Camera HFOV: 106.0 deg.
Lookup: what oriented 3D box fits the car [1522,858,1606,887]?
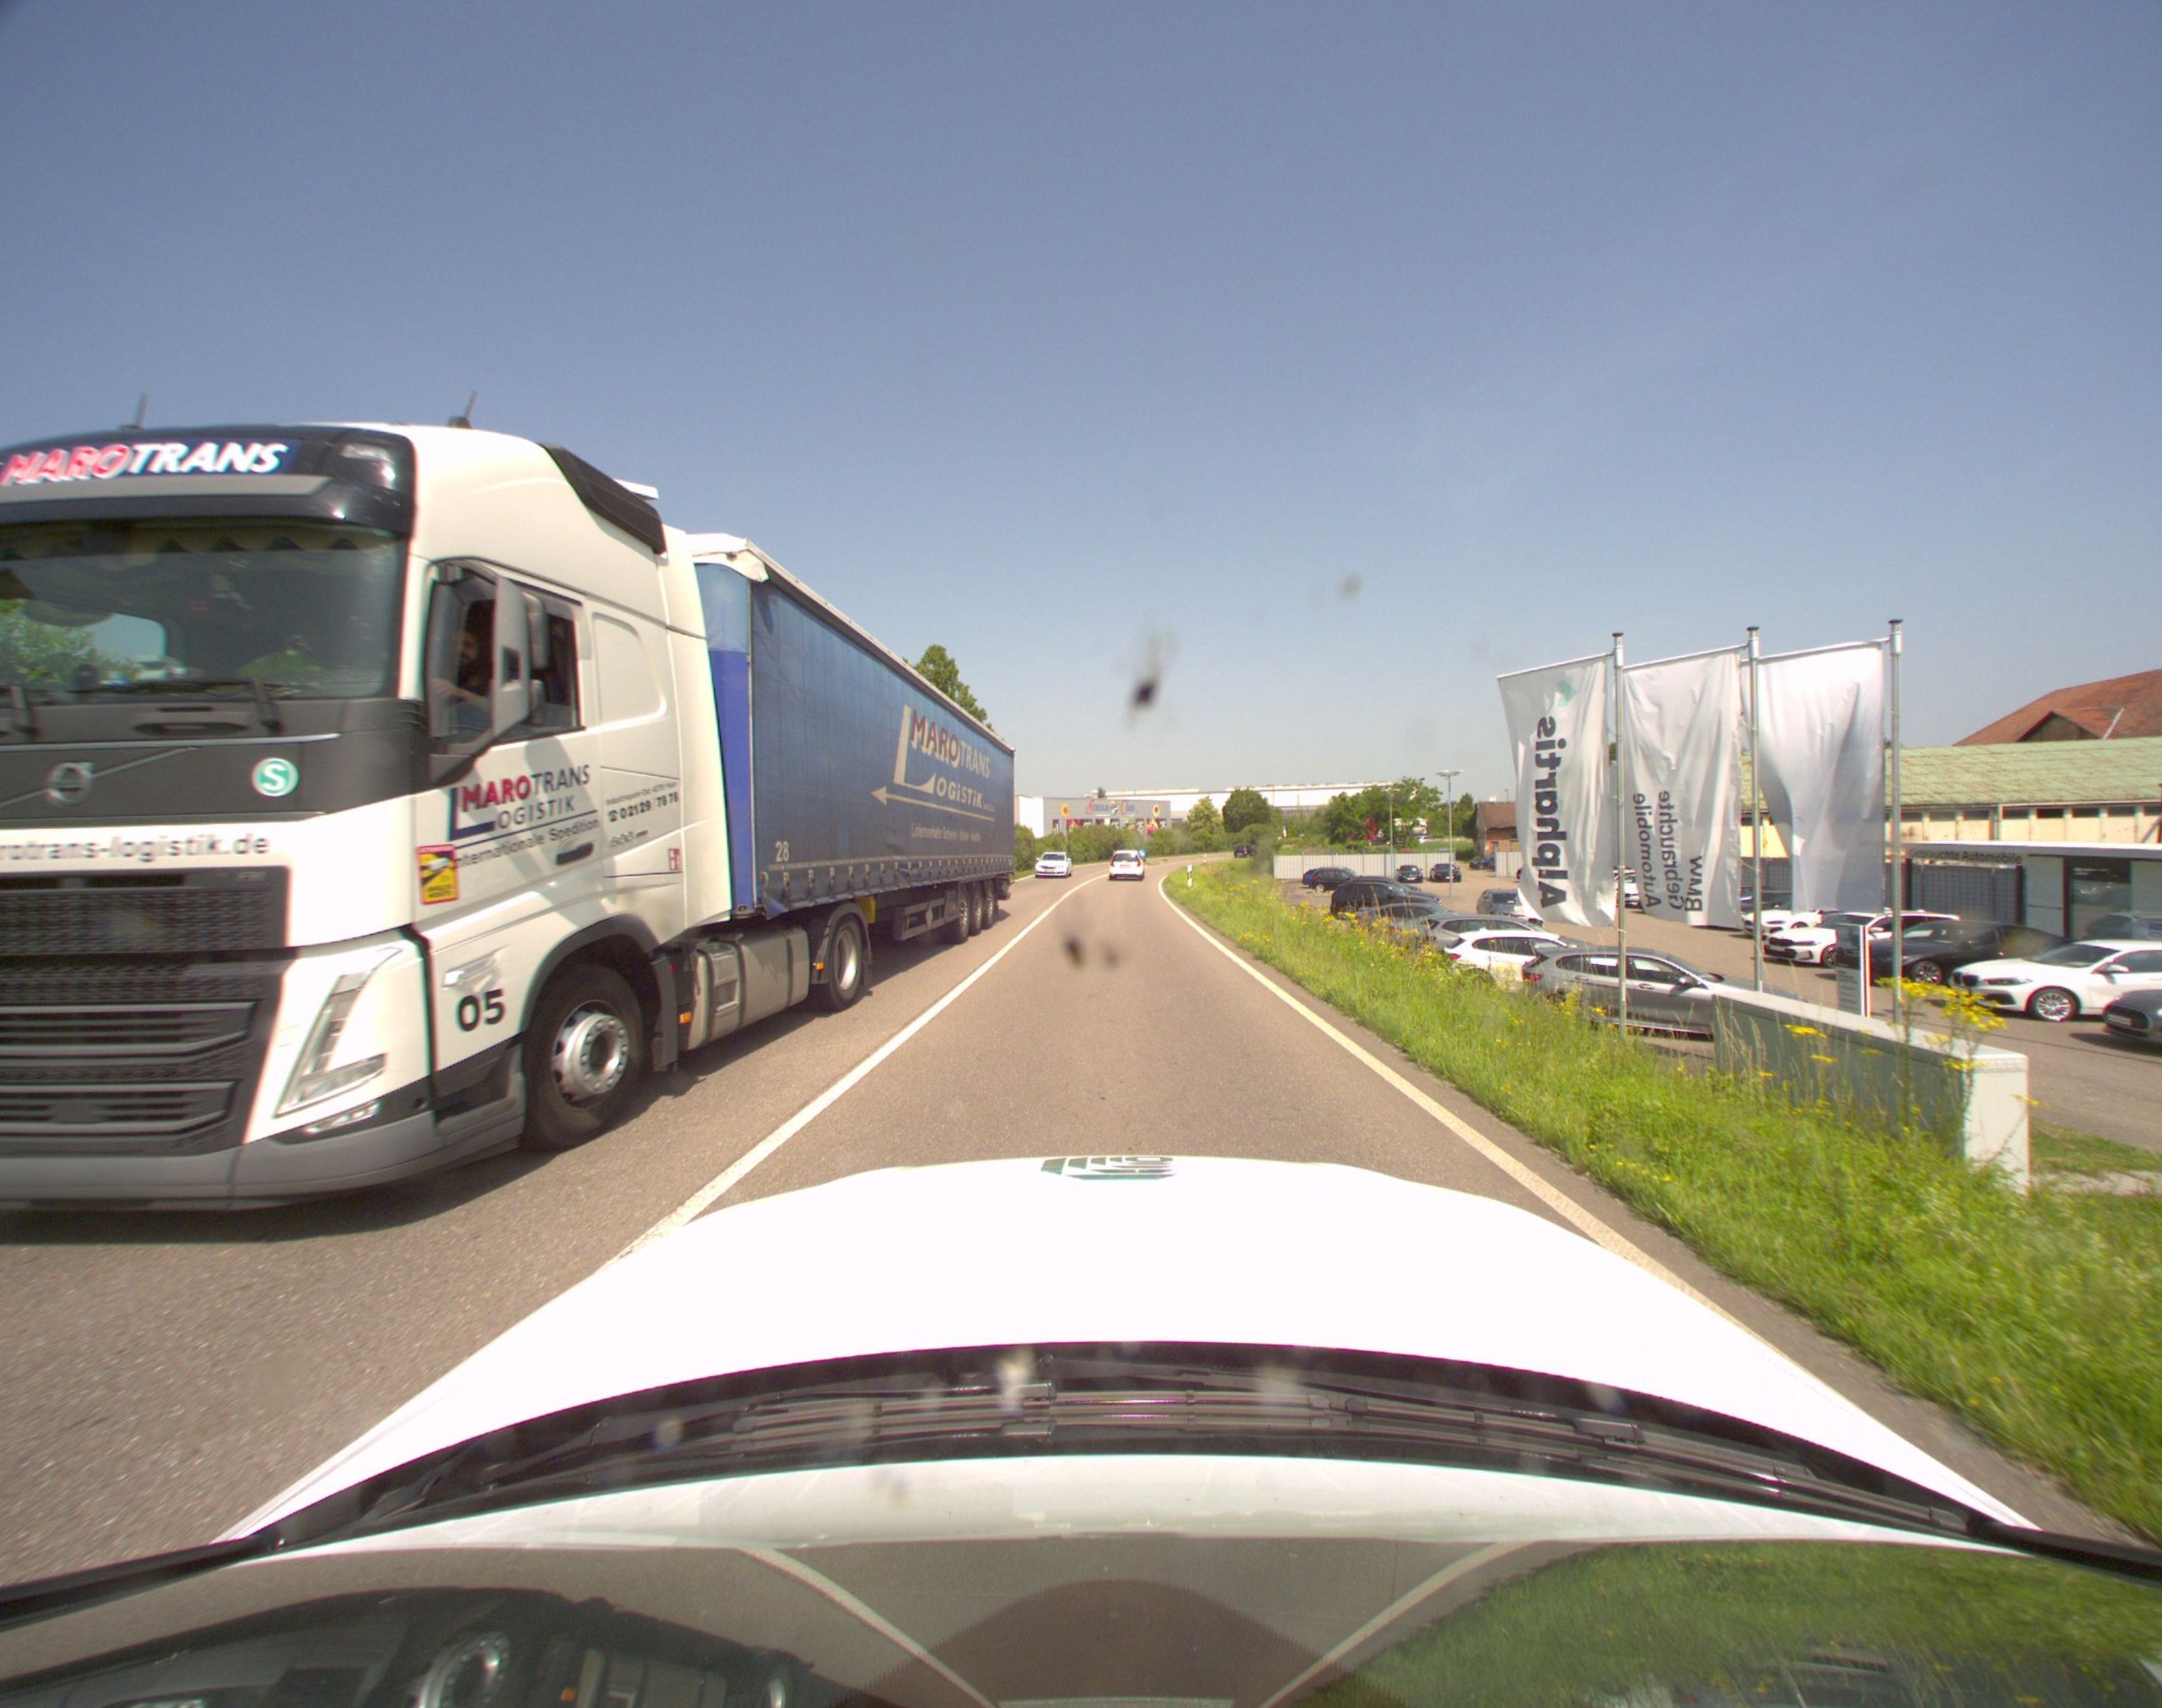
[{"bbox_3d":[30.003,1.144,50.604,4.323,1.575,1.906,-1,2,-10],"label":"car"}]

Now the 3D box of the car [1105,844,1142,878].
[{"bbox_3d":[2.249,0.326,43.730,1.775,1.603,3.895,3,1,1],"label":"car"}]

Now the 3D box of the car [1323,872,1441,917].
[{"bbox_3d":[13.427,1.768,36.430,4.583,1.700,1.869,0,3,35],"label":"car"}]

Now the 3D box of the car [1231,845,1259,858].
[{"bbox_3d":[18.254,-0.288,90.379,1.811,1.470,4.437,0,0,29],"label":"car"}]

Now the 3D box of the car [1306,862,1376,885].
[{"bbox_3d":[18.973,1.385,59.485,4.583,1.498,1.869,0,3,33],"label":"car"}]

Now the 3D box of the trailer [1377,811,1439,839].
[{"bbox_3d":[48.954,-4.291,121.873,8.679,4.030,2.875,0,0,-14],"label":"trailer"}]

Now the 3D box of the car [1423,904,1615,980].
[{"bbox_3d":[11.016,2.151,20.669,4.119,1.523,1.868,0,0,29],"label":"car"}]

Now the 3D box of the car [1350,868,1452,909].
[{"bbox_3d":[15.475,1.626,39.426,4.181,1.700,1.931,0,3,39],"label":"car"}]

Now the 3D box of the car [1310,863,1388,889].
[{"bbox_3d":[17.635,1.433,53.606,4.584,1.604,1.868,0,1,30],"label":"car"}]

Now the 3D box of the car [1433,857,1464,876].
[{"bbox_3d":[28.811,0.946,63.781,1.975,1.398,4.024,0,0,27],"label":"car"}]

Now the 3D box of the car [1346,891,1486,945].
[{"bbox_3d":[11.281,2.093,27.459,4.119,1.523,1.868,0,0,30],"label":"car"}]

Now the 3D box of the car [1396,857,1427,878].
[{"bbox_3d":[26.076,0.999,64.196,1.833,1.534,4.671,0,0,27],"label":"car"}]

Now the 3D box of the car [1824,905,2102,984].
[{"bbox_3d":[20.547,2.081,19.130,4.409,1.523,1.933,-1,0,1],"label":"car"}]

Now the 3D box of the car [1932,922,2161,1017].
[{"bbox_3d":[19.421,2.177,15.600,3.923,1.523,1.761,-1,0,22],"label":"car"}]

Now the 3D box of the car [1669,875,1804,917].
[{"bbox_3d":[26.974,1.691,33.596,4.305,1.523,1.794,-1,0,-5],"label":"car"}]

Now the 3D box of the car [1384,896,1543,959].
[{"bbox_3d":[11.318,2.114,24.149,4.119,1.523,1.868,0,0,30],"label":"car"}]

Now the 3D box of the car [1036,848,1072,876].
[{"bbox_3d":[-1.519,0.423,46.633,1.822,1.470,4.411,0,0,1],"label":"car"}]

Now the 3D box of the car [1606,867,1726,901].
[{"bbox_3d":[28.667,1.443,39.980,4.637,1.523,1.909,-1,0,-5],"label":"car"}]

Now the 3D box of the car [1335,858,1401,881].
[{"bbox_3d":[21.637,1.134,61.433,1.853,1.502,4.319,-3,2,-45],"label":"car"}]

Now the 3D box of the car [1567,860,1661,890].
[{"bbox_3d":[30.032,1.163,45.934,4.323,1.523,1.906,-1,2,-10],"label":"car"}]

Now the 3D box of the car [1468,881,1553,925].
[{"bbox_3d":[17.511,1.945,33.428,2.119,1.457,4.550,0,0,15],"label":"car"}]

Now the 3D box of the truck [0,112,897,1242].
[{"bbox_3d":[-3.598,-0.655,6.190,2.502,4.257,6.119,-2,0,4],"label":"truck"}]

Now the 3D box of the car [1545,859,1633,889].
[{"bbox_3d":[30.127,1.150,48.347,4.323,1.575,1.906,-1,2,-10],"label":"car"}]

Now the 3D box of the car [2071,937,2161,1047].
[{"bbox_3d":[18.483,2.207,12.522,3.755,1.523,1.762,0,0,28],"label":"car"}]

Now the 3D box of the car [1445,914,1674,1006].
[{"bbox_3d":[10.298,2.217,17.759,4.119,1.523,1.762,0,0,30],"label":"car"}]

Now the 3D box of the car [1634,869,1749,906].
[{"bbox_3d":[27.459,1.491,36.697,3.990,1.523,1.756,-1,0,-5],"label":"car"}]

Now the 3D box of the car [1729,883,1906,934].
[{"bbox_3d":[25.396,1.860,28.184,4.595,1.523,1.929,-1,0,-5],"label":"car"}]

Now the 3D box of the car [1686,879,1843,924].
[{"bbox_3d":[26.089,1.785,31.175,4.595,1.523,1.929,-1,0,-5],"label":"car"}]

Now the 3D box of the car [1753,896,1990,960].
[{"bbox_3d":[21.508,2.003,22.331,4.402,1.523,1.936,-1,0,6],"label":"car"}]

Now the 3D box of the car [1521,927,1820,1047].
[{"bbox_3d":[10.310,2.236,14.559,4.118,1.523,1.701,0,0,35],"label":"car"}]

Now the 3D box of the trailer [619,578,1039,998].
[{"bbox_3d":[-2.959,-0.712,15.572,2.658,4.241,14.580,0,0,4],"label":"trailer"}]

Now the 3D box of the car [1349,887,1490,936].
[{"bbox_3d":[12.572,2.072,30.343,4.583,1.523,1.868,0,0,33],"label":"car"}]

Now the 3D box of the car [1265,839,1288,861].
[{"bbox_3d":[18.722,-0.352,77.881,1.979,2.013,4.017,0,0,15],"label":"car"}]

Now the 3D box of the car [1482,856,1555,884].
[{"bbox_3d":[31.369,1.111,58.471,4.323,1.804,1.993,-1,2,-10],"label":"car"}]

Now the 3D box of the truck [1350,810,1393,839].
[{"bbox_3d":[42.481,-4.303,119.071,6.753,4.030,2.858,0,0,-38],"label":"truck"}]

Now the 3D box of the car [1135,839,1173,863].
[{"bbox_3d":[6.375,-0.262,70.943,1.975,2.013,4.023,0,0,25],"label":"car"}]
